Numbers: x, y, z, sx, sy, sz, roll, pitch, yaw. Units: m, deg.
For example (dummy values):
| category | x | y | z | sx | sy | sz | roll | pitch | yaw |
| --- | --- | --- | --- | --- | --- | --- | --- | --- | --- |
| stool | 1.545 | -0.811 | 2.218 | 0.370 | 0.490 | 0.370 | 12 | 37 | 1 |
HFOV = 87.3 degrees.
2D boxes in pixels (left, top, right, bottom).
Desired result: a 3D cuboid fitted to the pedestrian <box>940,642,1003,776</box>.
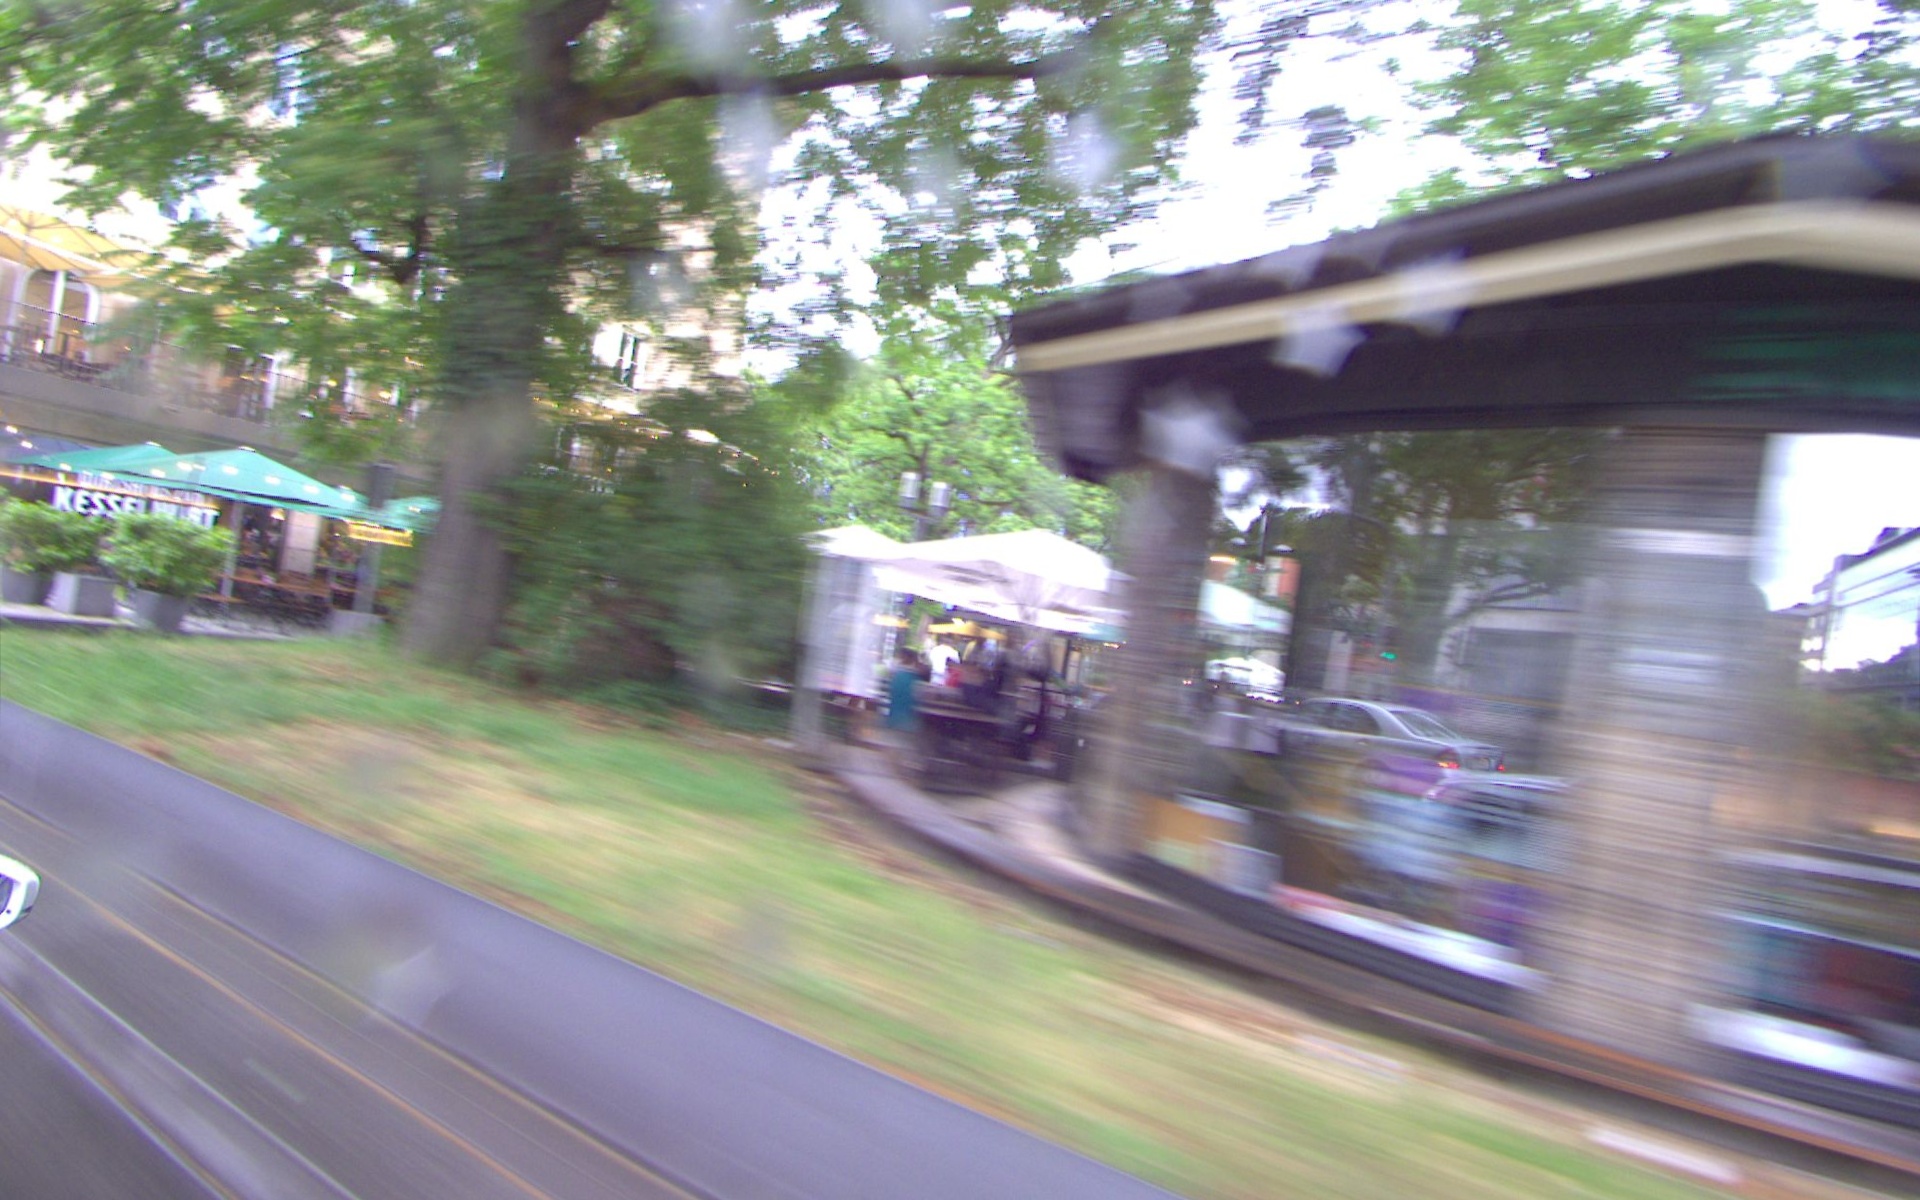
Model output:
| category | x | y | z | sx | sy | sz | roll | pitch | yaw |
| --- | --- | --- | --- | --- | --- | --- | --- | --- | --- |
| pedestrian | 0.131 | 1.231 | 11.484 | 0.512 | 1.433 | 0.342 | 8 | -2 | 0 |

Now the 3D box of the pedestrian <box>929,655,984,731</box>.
| category | x | y | z | sx | sy | sz | roll | pitch | yaw |
| --- | --- | --- | --- | --- | --- | --- | --- | --- | --- |
| pedestrian | -0.073 | 1.676 | 18.172 | 0.627 | 1.254 | 0.572 | 10 | -2 | -29 |

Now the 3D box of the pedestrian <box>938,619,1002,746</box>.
| category | x | y | z | sx | sy | sz | roll | pitch | yaw |
| --- | --- | --- | --- | --- | --- | --- | --- | --- | --- |
| pedestrian | 0.132 | 1.155 | 14.204 | 0.493 | 1.699 | 0.544 | 9 | -2 | -22 |

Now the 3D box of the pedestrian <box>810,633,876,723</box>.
| category | x | y | z | sx | sy | sz | roll | pitch | yaw |
| --- | --- | --- | --- | --- | --- | --- | --- | --- | --- |
| pedestrian | -1.961 | 1.289 | 16.790 | 0.634 | 1.341 | 0.941 | 10 | -2 | -26 |

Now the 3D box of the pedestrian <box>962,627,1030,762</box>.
| category | x | y | z | sx | sy | sz | roll | pitch | yaw |
| --- | --- | --- | --- | --- | --- | --- | --- | --- | --- |
| pedestrian | 0.478 | 1.254 | 13.443 | 0.493 | 1.699 | 0.544 | 9 | -2 | -22 |

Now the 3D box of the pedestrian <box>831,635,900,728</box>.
| category | x | y | z | sx | sy | sz | roll | pitch | yaw |
| --- | --- | --- | --- | --- | --- | --- | --- | --- | --- |
| pedestrian | -1.499 | 1.285 | 15.933 | 0.712 | 1.341 | 0.637 | 10 | -2 | -29 |

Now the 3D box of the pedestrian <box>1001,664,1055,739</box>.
| category | x | y | z | sx | sy | sz | roll | pitch | yaw |
| --- | --- | --- | --- | --- | --- | --- | --- | --- | --- |
| pedestrian | 1.255 | 1.875 | 18.660 | 0.628 | 1.254 | 0.572 | 10 | -2 | -30 |

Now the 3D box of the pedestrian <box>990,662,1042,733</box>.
| category | x | y | z | sx | sy | sz | roll | pitch | yaw |
| --- | --- | --- | --- | --- | --- | --- | --- | --- | --- |
| pedestrian | 1.074 | 1.882 | 19.446 | 0.628 | 1.254 | 0.572 | 10 | -2 | -30 |

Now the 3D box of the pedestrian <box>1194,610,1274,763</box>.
| category | x | y | z | sx | sy | sz | roll | pitch | yaw |
| --- | --- | --- | --- | --- | --- | --- | --- | --- | --- |
| pedestrian | 3.213 | 0.999 | 11.812 | 0.493 | 1.699 | 0.498 | 9 | -2 | -20 |

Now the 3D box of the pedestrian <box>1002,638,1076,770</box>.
| category | x | y | z | sx | sy | sz | roll | pitch | yaw |
| --- | --- | --- | --- | --- | --- | --- | --- | --- | --- |
| pedestrian | 1.091 | 1.431 | 13.943 | 0.598 | 1.699 | 0.544 | 9 | -2 | -23 |

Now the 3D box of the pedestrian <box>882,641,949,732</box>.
| category | x | y | z | sx | sy | sz | roll | pitch | yaw |
| --- | --- | --- | --- | --- | --- | --- | --- | --- | --- |
| pedestrian | -0.740 | 1.411 | 16.505 | 0.712 | 1.341 | 0.637 | 10 | -2 | -29 |

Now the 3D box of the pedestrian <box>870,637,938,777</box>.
| category | x | y | z | sx | sy | sz | roll | pitch | yaw |
| --- | --- | --- | --- | --- | --- | --- | --- | --- | --- |
| pedestrian | -0.601 | 1.151 | 10.910 | 0.512 | 1.433 | 0.342 | 8 | -2 | 0 |

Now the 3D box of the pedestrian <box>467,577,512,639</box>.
| category | x | y | z | sx | sy | sz | roll | pitch | yaw |
| --- | --- | --- | --- | --- | --- | --- | --- | --- | --- |
| pedestrian | -11.008 | 0.191 | 23.547 | 0.418 | 1.337 | 0.649 | 7 | -2 | 26 |

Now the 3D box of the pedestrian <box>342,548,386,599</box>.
| category | x | y | z | sx | sy | sz | roll | pitch | yaw |
| --- | --- | --- | --- | --- | --- | --- | --- | --- | --- |
| pedestrian | -13.818 | -0.618 | 23.330 | 0.536 | 1.067 | 0.555 | 8 | -1 | 32 |

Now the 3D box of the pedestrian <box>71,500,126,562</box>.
| category | x | y | z | sx | sy | sz | roll | pitch | yaw |
| --- | --- | --- | --- | --- | --- | --- | --- | --- | --- |
| pedestrian | -16.667 | -1.329 | 19.475 | 0.536 | 1.067 | 0.555 | 8 | -1 | 32 |

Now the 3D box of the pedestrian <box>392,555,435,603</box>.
| category | x | y | z | sx | sy | sz | roll | pitch | yaw |
| --- | --- | --- | --- | --- | --- | --- | --- | --- | --- |
| pedestrian | -13.633 | -0.523 | 25.107 | 0.641 | 1.067 | 0.555 | 8 | -1 | 32 |

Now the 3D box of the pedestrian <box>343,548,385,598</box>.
| category | x | y | z | sx | sy | sz | roll | pitch | yaw |
| --- | --- | --- | --- | --- | --- | --- | --- | --- | --- |
| pedestrian | -14.222 | -0.646 | 24.013 | 0.536 | 1.067 | 0.555 | 8 | -1 | 32 |

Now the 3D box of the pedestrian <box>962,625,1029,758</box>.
| category | x | y | z | sx | sy | sz | roll | pitch | yaw |
| --- | --- | --- | --- | --- | --- | --- | --- | --- | --- |
| pedestrian | 0.514 | 1.328 | 14.770 | 0.493 | 1.856 | 0.638 | 9 | -2 | -23 |

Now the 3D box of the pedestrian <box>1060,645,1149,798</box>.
| category | x | y | z | sx | sy | sz | roll | pitch | yaw |
| --- | --- | --- | --- | --- | --- | --- | --- | --- | --- |
| pedestrian | 1.724 | 1.442 | 12.074 | 0.564 | 1.699 | 0.680 | 9 | -2 | -21 |

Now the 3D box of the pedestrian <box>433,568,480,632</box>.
| category | x | y | z | sx | sy | sz | roll | pitch | yaw |
| --- | --- | --- | --- | --- | --- | --- | --- | --- | --- |
| pedestrian | -11.305 | -0.002 | 22.588 | 0.418 | 1.337 | 0.649 | 7 | -2 | 26 |

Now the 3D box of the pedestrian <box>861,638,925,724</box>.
| category | x | y | z | sx | sy | sz | roll | pitch | yaw |
| --- | --- | --- | --- | --- | --- | --- | --- | --- | --- |
| pedestrian | -1.145 | 1.385 | 17.240 | 0.712 | 1.341 | 0.637 | 10 | -2 | -29 |
